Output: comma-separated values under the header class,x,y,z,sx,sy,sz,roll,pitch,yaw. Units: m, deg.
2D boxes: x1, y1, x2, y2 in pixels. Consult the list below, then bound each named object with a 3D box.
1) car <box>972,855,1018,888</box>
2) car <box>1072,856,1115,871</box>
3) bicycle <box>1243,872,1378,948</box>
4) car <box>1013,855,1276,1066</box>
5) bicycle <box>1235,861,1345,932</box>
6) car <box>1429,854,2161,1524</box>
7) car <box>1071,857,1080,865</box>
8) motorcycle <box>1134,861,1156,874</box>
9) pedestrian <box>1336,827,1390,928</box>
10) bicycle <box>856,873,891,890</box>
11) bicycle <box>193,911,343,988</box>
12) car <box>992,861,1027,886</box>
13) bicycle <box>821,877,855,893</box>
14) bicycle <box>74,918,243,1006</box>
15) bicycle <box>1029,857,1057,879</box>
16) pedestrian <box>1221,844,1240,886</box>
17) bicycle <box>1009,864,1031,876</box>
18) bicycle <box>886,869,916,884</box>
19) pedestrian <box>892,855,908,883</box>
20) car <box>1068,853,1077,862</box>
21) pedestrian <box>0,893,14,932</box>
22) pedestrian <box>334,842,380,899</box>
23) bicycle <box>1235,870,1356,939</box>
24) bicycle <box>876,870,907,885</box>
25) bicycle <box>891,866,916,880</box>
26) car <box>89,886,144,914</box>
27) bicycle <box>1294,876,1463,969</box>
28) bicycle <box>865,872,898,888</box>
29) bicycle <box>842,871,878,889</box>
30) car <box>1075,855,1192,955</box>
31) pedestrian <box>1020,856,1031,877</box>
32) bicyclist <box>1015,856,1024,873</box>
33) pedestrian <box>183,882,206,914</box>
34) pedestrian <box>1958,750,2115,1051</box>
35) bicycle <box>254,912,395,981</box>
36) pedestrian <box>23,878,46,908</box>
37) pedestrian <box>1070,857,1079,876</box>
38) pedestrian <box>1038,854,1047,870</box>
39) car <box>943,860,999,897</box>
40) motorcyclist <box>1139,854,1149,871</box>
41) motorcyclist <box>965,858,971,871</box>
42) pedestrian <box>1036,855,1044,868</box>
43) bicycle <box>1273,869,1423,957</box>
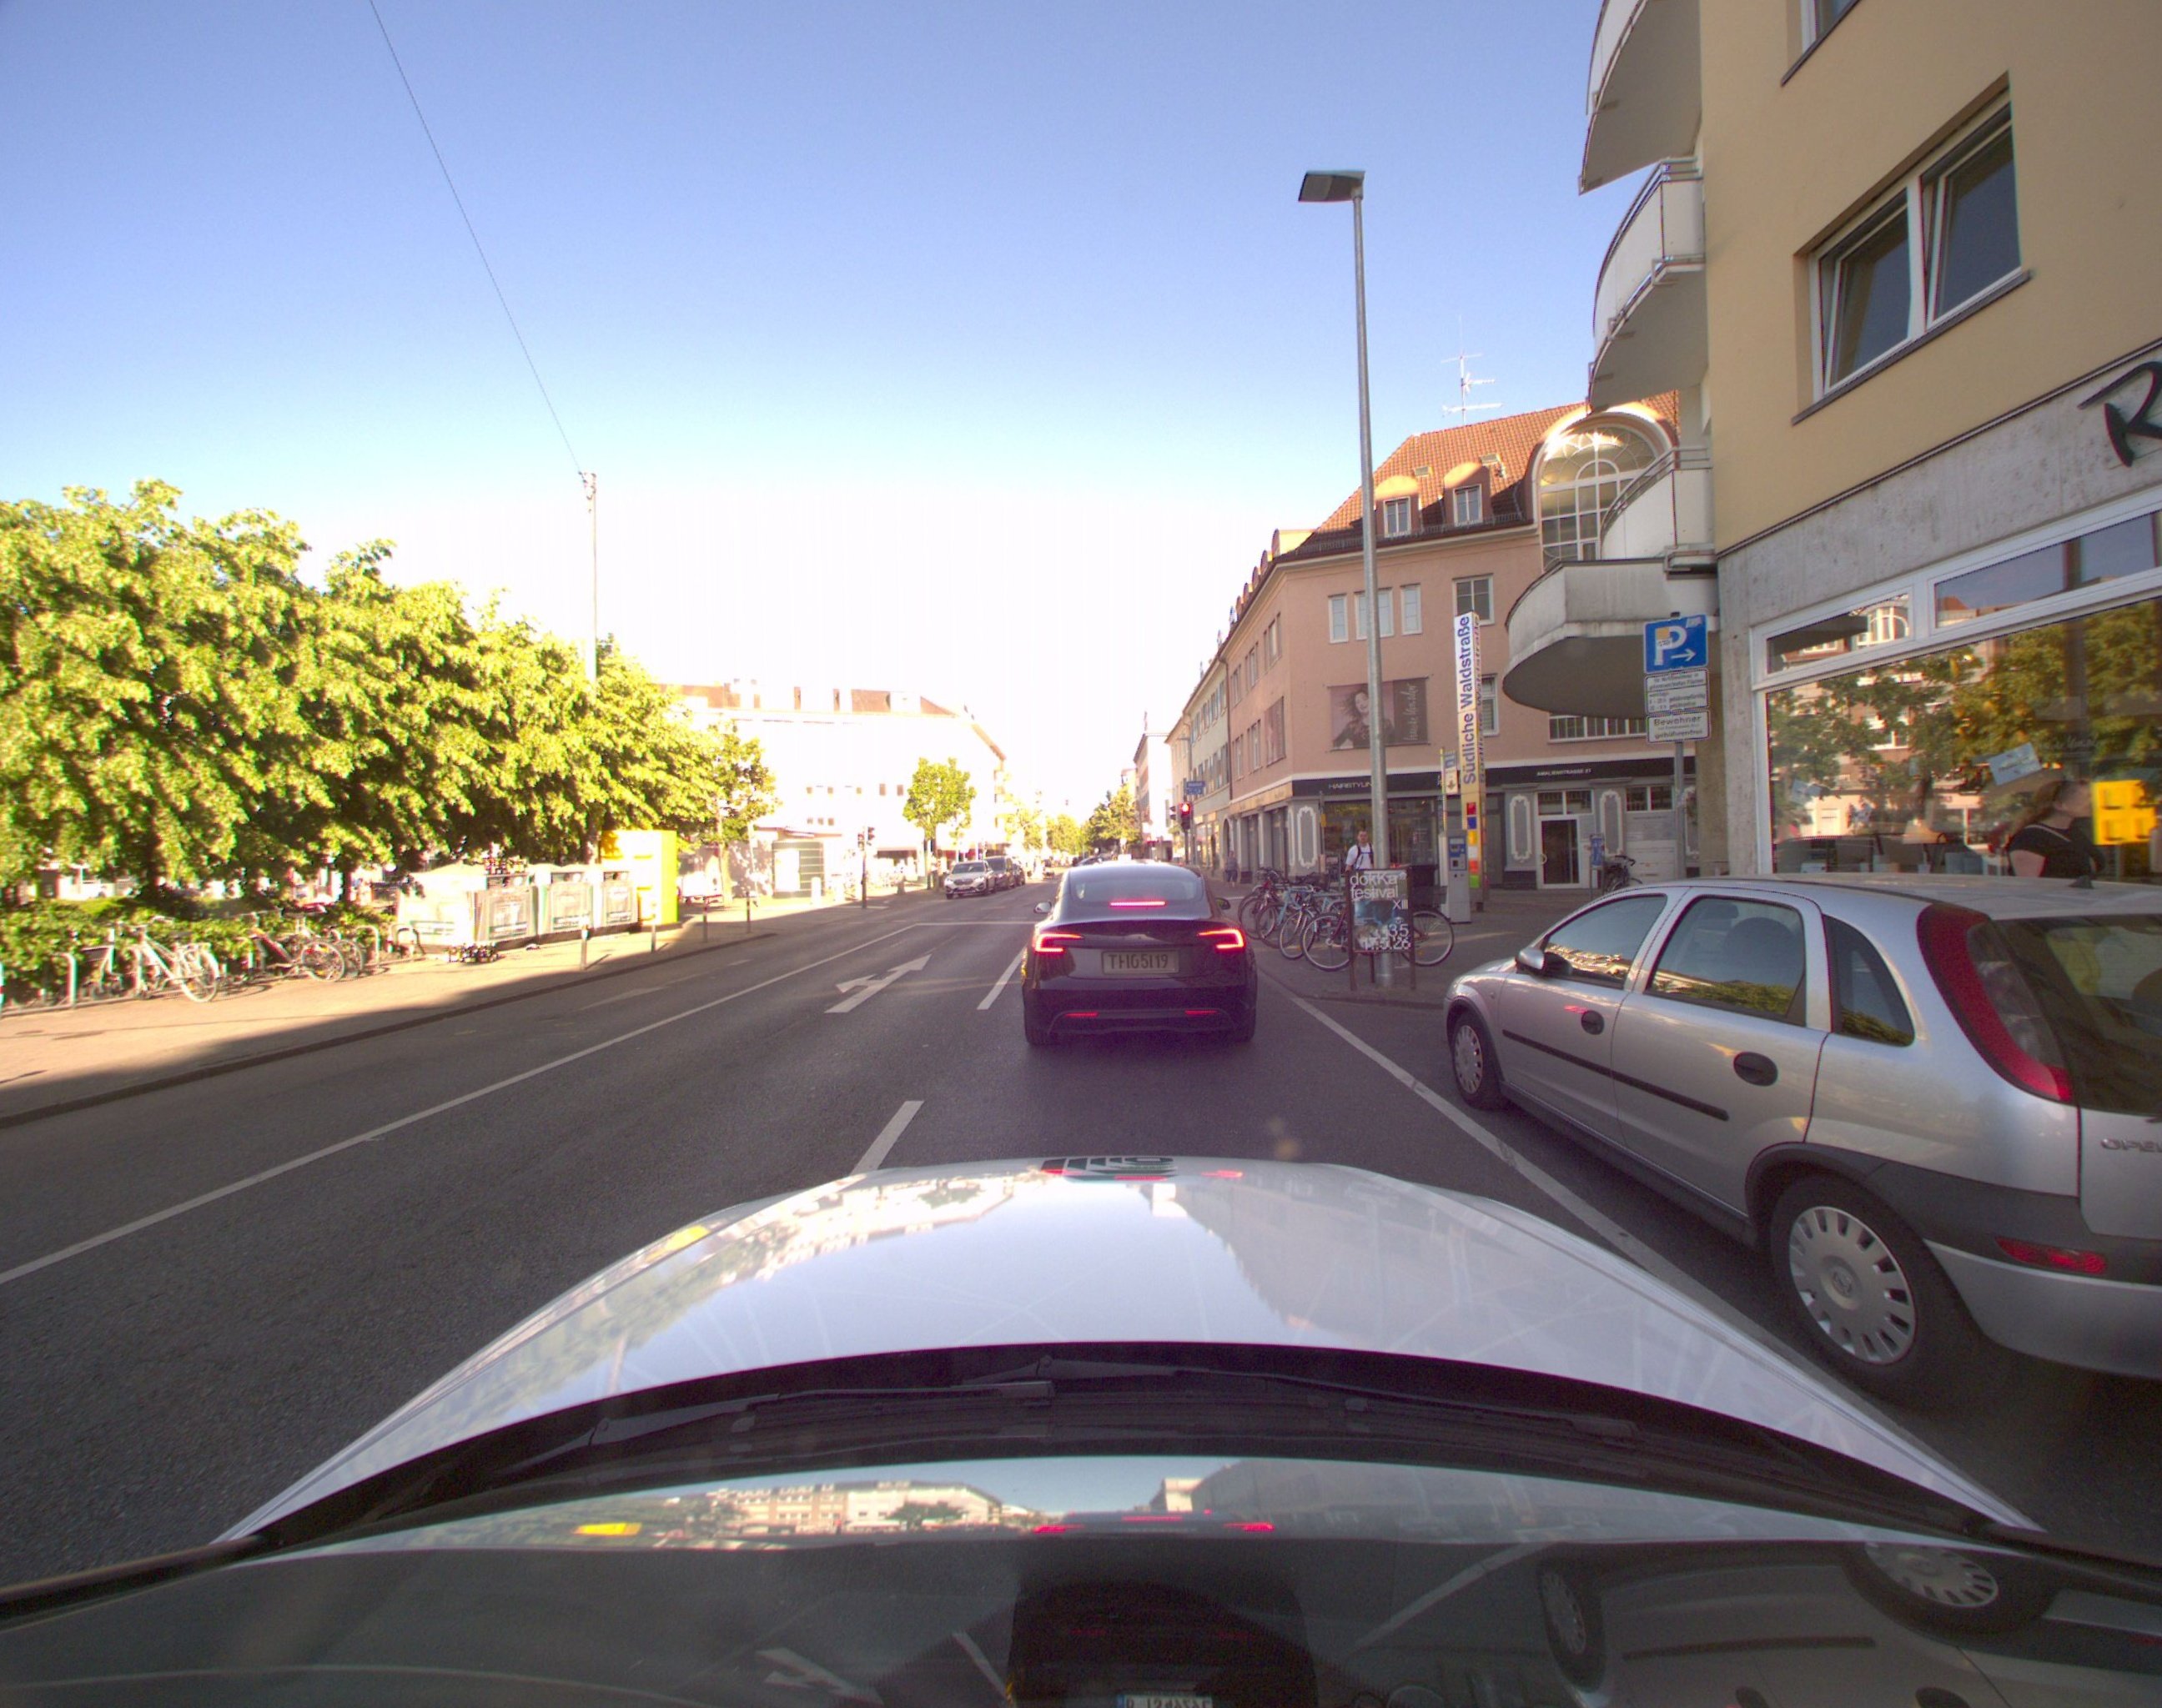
class,x,y,z,sx,sy,sz,roll,pitch,yaw
car,-4.461,0.877,42.736,1.780,1.646,4.404,-1,0,2
car,1.275,0.969,83.971,4.000,1.354,1.896,-1,0,-20
bicycle,3.483,0.851,12.469,1.864,1.038,0.534,-3,-1,5
car,0.506,0.761,7.713,1.815,1.442,4.001,-1,-1,2
bicycle,3.771,0.760,14.784,1.818,1.169,0.507,-3,-1,7
car,2.947,0.739,3.504,1.540,1.390,3.479,-1,1,3
car,-1.048,1.458,164.727,1.746,1.688,3.831,0,-1,0
motorcycle,5.729,1.173,72.810,1.934,1.110,0.515,-1,0,-21
pedestrian,5.057,0.410,14.649,0.747,1.765,0.838,0,-1,6
bicycle,-12.177,1.615,47.795,1.857,0.934,0.606,0,-1,0
bicycle,-11.568,1.339,11.599,1.913,1.003,0.518,-1,-1,11
car,-4.361,1.170,50.239,1.709,1.446,3.846,0,-1,2
bicycle,-12.846,1.633,43.076,1.640,0.792,0.606,0,-1,-3
bicycle,-11.629,1.340,10.273,1.919,1.015,0.518,-1,-1,12
bicycle,-2.988,1.065,63.620,2.104,1.665,0.666,0,-1,-14
pedestrian,6.298,0.456,34.382,0.703,1.742,0.540,0,-1,1
bicycle,-5.002,1.316,66.691,1.787,1.007,0.469,0,-1,-15
bicycle,-12.190,1.538,55.136,1.857,0.934,0.606,-1,0,0
pedestrian,-13.251,1.115,59.725,1.060,2.014,1.049,0,-1,-18
car,-1.936,0.870,187.449,1.986,2.013,4.002,-1,0,2
pedestrian,-56.326,3.035,42.317,0.891,2.014,0.882,-1,-1,27
pedestrian,-26.113,0.589,29.381,0.890,2.013,0.893,-1,0,15
bicycle,3.575,0.841,13.667,1.863,1.038,0.548,-3,-1,7
bicycle,-12.270,1.518,52.688,1.857,0.934,0.606,-1,0,0
bicycle,-17.097,1.817,78.418,2.373,1.296,0.509,0,-1,-25
car,-53.705,2.523,45.321,3.526,1.386,1.703,-1,0,36
bicycle,3.623,0.837,10.011,1.862,1.038,0.354,-3,-1,8
bicycle,-12.301,1.592,50.274,1.857,0.934,0.606,0,-1,0
bicycle,-12.358,1.444,45.558,1.857,0.934,0.606,-1,0,0
car,0.788,0.749,13.887,1.712,1.425,3.757,-1,0,0
pedestrian,-4.444,0.986,65.268,0.756,1.631,0.951,0,-1,-16
bicyclist,-5.056,0.886,66.674,0.670,1.395,0.460,0,-1,-14
pedestrian,-48.851,2.436,44.875,0.842,1.717,0.761,-2,-1,35
pedestrian,6.189,0.272,5.278,0.746,1.784,0.562,-1,-1,-34
bicycle,-11.327,1.372,12.197,1.888,0.955,0.518,-1,-1,11
pedestrian,-77.787,2.868,60.552,0.891,2.171,0.882,-1,-1,26
pedestrian,-0.551,1.035,65.661,0.623,1.538,0.511,0,-1,-17
pedestrian,-4.325,0.851,91.168,0.676,1.789,0.705,0,-1,-34
car,-4.859,1.046,36.455,1.782,1.460,3.759,-4,-1,2
motorcyclist,5.633,0.775,72.778,0.722,1.528,0.512,-1,0,-21
motorcyclist,-11.114,1.073,80.052,0.493,1.253,0.351,-2,0,-36
pedestrian,-4.538,0.813,90.427,0.676,1.394,0.584,0,-1,-34
bicycle,3.647,0.806,11.210,1.864,1.087,0.415,-3,-1,5
